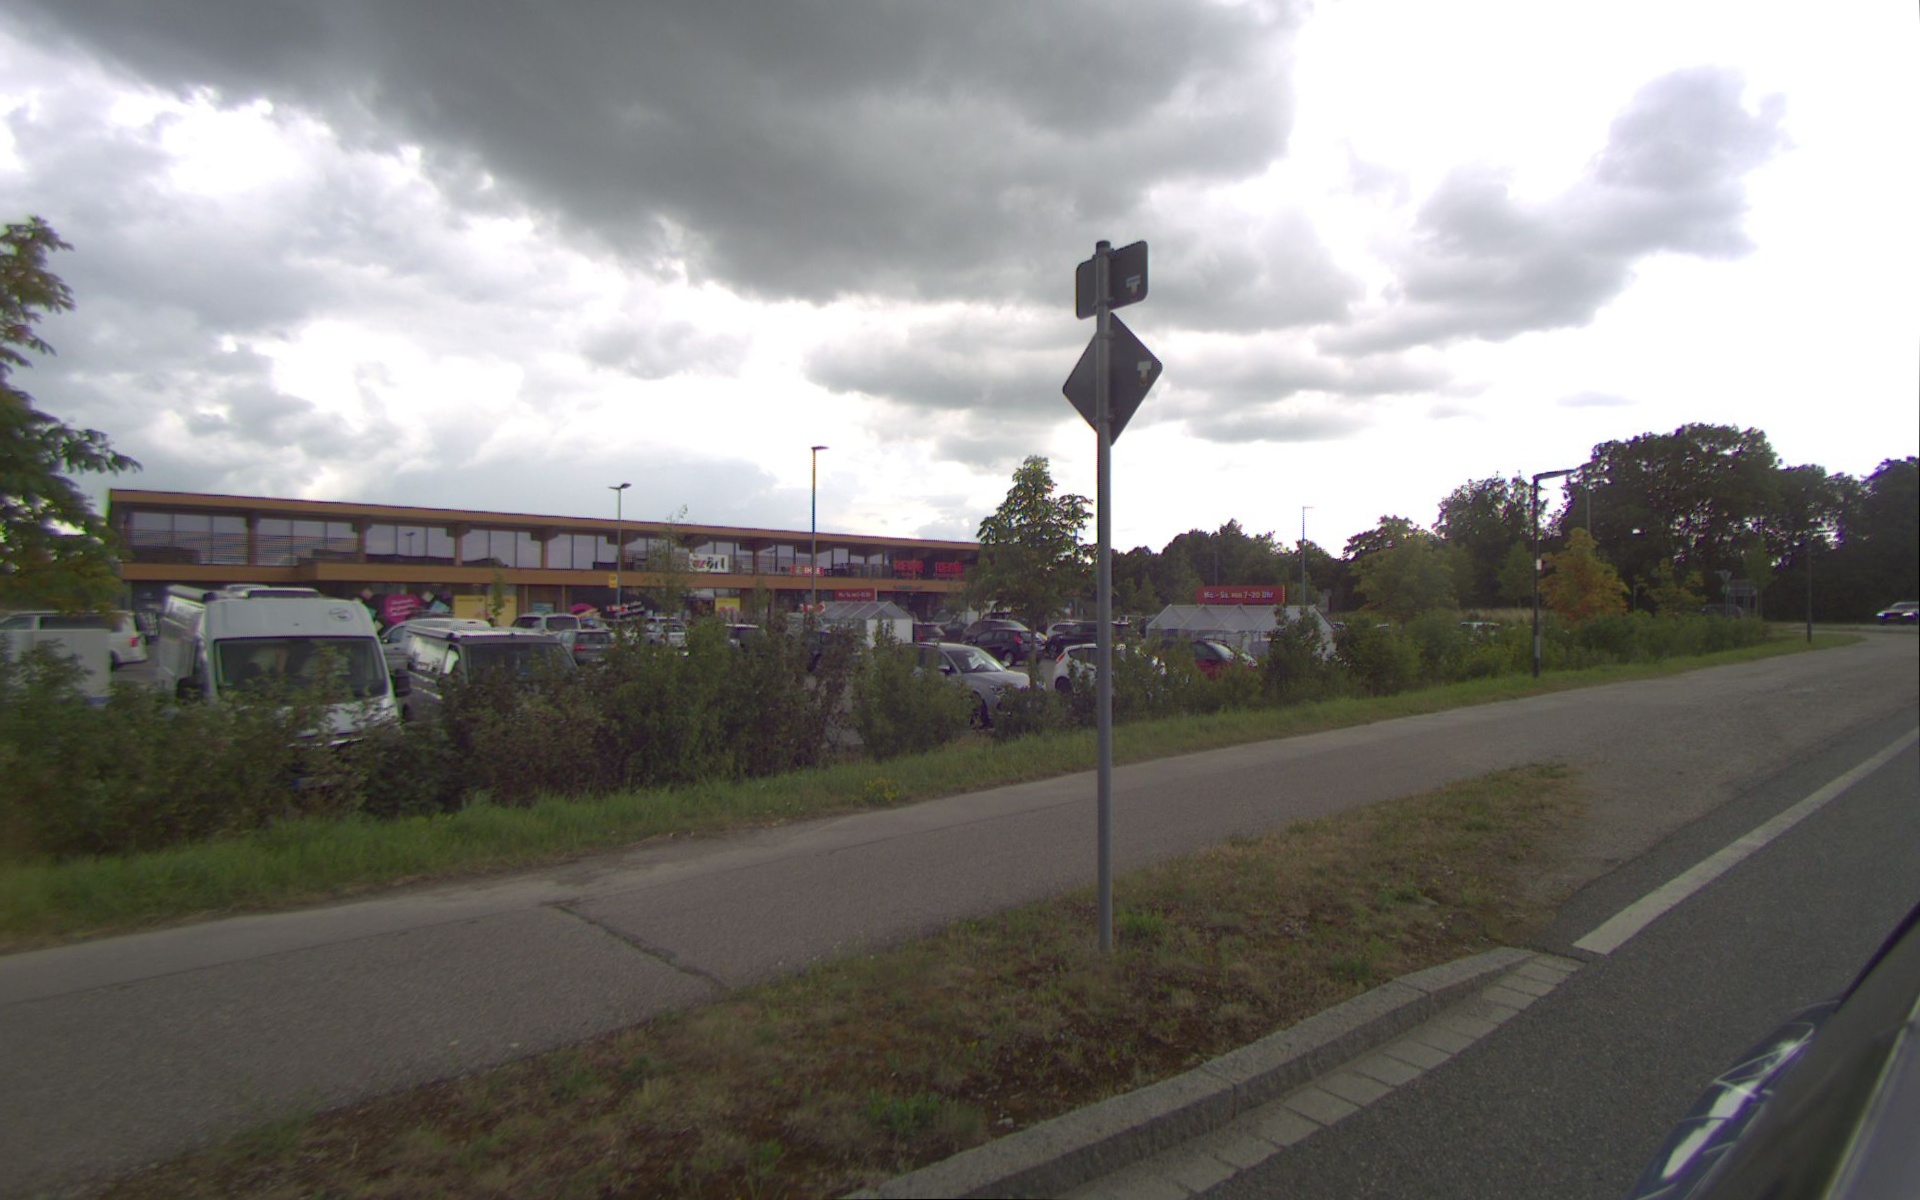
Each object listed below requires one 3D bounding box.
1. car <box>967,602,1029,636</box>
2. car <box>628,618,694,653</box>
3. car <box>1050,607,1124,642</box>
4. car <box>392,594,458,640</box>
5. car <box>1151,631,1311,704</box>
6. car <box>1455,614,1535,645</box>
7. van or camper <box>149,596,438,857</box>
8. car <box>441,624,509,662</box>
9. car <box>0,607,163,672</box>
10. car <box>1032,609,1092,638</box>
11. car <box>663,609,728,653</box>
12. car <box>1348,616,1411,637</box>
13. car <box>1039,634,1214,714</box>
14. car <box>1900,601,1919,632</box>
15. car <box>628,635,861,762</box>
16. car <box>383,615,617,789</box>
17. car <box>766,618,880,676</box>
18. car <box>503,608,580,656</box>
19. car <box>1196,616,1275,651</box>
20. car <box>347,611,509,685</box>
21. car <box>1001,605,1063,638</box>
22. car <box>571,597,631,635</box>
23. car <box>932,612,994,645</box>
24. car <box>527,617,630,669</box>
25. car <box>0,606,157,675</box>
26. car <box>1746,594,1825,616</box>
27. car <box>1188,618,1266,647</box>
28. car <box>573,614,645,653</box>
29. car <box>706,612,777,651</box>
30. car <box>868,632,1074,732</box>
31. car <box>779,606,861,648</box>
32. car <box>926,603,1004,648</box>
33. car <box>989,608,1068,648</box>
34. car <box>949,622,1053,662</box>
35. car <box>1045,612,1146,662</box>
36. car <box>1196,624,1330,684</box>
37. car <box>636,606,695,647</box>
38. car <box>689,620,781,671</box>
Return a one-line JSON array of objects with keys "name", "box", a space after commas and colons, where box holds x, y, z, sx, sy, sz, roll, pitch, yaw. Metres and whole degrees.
[{"name": "car", "box": [2.465, 1.211, 65.985, 1.962, 2.039, 4.000, 1, 1, -36]}, {"name": "car", "box": [-14.691, 1.697, 49.695, 1.761, 1.496, 3.745, 0, 1, -40]}, {"name": "car", "box": [7.515, 1.426, 60.165, 1.962, 1.894, 4.274, 1, 1, -36]}, {"name": "car", "box": [-25.722, 0.768, 48.600, 1.819, 2.035, 4.224, 0, 1, -42]}, {"name": "car", "box": [7.043, 1.710, 26.585, 1.647, 1.557, 3.762, 0, 1, -42]}, {"name": "car", "box": [32.545, 1.789, 61.560, 4.154, 1.738, 1.705, 1, 1, -13]}, {"name": "van or camper", "box": [-9.137, 1.288, 13.517, 2.242, 2.495, 6.475, 0, 1, -42]}, {"name": "car", "box": [-20.697, 1.799, 43.147, 1.744, 1.399, 3.467, 0, 1, -42]}, {"name": "car", "box": [-30.401, 1.302, 35.153, 4.210, 2.039, 1.998, 0, 1, -40]}, {"name": "car", "box": [7.067, 1.603, 70.598, 2.032, 1.871, 4.000, 1, 1, -36]}, {"name": "car", "box": [-13.699, 1.549, 52.316, 1.962, 2.039, 4.000, 1, 1, -36]}, {"name": "car", "box": [30.509, 1.910, 73.567, 3.916, 1.377, 1.705, 1, 1, -13]}, {"name": "car", "box": [4.032, 1.740, 24.990, 1.647, 1.557, 4.153, 0, 1, -42]}, {"name": "car", "box": [59.205, 1.004, 62.211, 1.993, 1.861, 3.939, 2, 1, 42]}, {"name": "car", "box": [-3.958, 1.584, 17.871, 1.728, 1.618, 5.104, 0, 1, -42]}, {"name": "car", "box": [-7.141, 1.356, 15.444, 1.966, 2.039, 4.600, 0, 1, -42]}, {"name": "car", "box": [-4.664, 1.528, 34.040, 1.964, 1.638, 3.996, 0, 1, -40]}, {"name": "car", "box": [-18.936, 1.377, 45.710, 2.004, 1.935, 3.899, 0, 1, -42]}, {"name": "car", "box": [14.145, 1.682, 52.041, 1.723, 1.552, 3.555, 0, 1, -41]}, {"name": "car", "box": [-16.316, 1.394, 30.984, 4.900, 1.930, 2.088, 2, 1, 30]}, {"name": "car", "box": [4.740, 1.403, 67.277, 2.032, 2.039, 4.000, 1, 1, -36]}, {"name": "car", "box": [-18.726, 0.786, 52.631, 1.908, 1.771, 4.000, 1, 1, -36]}, {"name": "car", "box": [0.136, 1.790, 63.952, 1.962, 2.040, 3.998, 1, -2, -36]}, {"name": "car", "box": [-12.986, 1.392, 34.318, 1.869, 1.450, 4.184, 0, 1, -42]}, {"name": "car", "box": [-29.047, 1.243, 32.424, 5.140, 2.039, 1.998, 0, 1, -40]}, {"name": "car", "box": [57.456, 0.340, 70.557, 3.964, 1.438, 1.699, 2, 1, 29]}, {"name": "car", "box": [15.812, 1.904, 60.104, 1.962, 1.504, 4.132, 1, 1, -36]}, {"name": "car", "box": [-16.701, 1.555, 48.069, 2.003, 1.627, 3.745, 0, 1, -40]}, {"name": "car", "box": [-13.254, 1.860, 61.107, 1.965, 2.039, 5.138, 0, 1, -41]}, {"name": "car", "box": [0.138, 1.604, 21.139, 2.045, 1.618, 4.153, 0, 1, -42]}, {"name": "car", "box": [-7.737, 1.420, 55.541, 1.965, 2.039, 5.138, 0, 1, -41]}, {"name": "car", "box": [0.206, 1.217, 50.725, 1.962, 2.039, 4.000, 1, 1, -36]}, {"name": "car", "box": [3.616, 1.460, 54.340, 1.962, 1.894, 4.274, 1, 1, -36]}, {"name": "car", "box": [1.584, 1.630, 40.198, 1.965, 1.460, 3.993, 0, -1, -41]}, {"name": "car", "box": [5.839, 1.568, 43.972, 1.962, 1.894, 4.274, 1, 1, -36]}, {"name": "car", "box": [9.556, 1.654, 32.064, 1.647, 1.557, 3.762, 0, 1, -42]}, {"name": "car", "box": [-16.430, 1.430, 56.382, 1.962, 2.039, 4.000, 1, 1, -36]}, {"name": "car", "box": [-8.491, 1.657, 37.980, 1.962, 1.638, 4.000, 1, 1, -36]}]
